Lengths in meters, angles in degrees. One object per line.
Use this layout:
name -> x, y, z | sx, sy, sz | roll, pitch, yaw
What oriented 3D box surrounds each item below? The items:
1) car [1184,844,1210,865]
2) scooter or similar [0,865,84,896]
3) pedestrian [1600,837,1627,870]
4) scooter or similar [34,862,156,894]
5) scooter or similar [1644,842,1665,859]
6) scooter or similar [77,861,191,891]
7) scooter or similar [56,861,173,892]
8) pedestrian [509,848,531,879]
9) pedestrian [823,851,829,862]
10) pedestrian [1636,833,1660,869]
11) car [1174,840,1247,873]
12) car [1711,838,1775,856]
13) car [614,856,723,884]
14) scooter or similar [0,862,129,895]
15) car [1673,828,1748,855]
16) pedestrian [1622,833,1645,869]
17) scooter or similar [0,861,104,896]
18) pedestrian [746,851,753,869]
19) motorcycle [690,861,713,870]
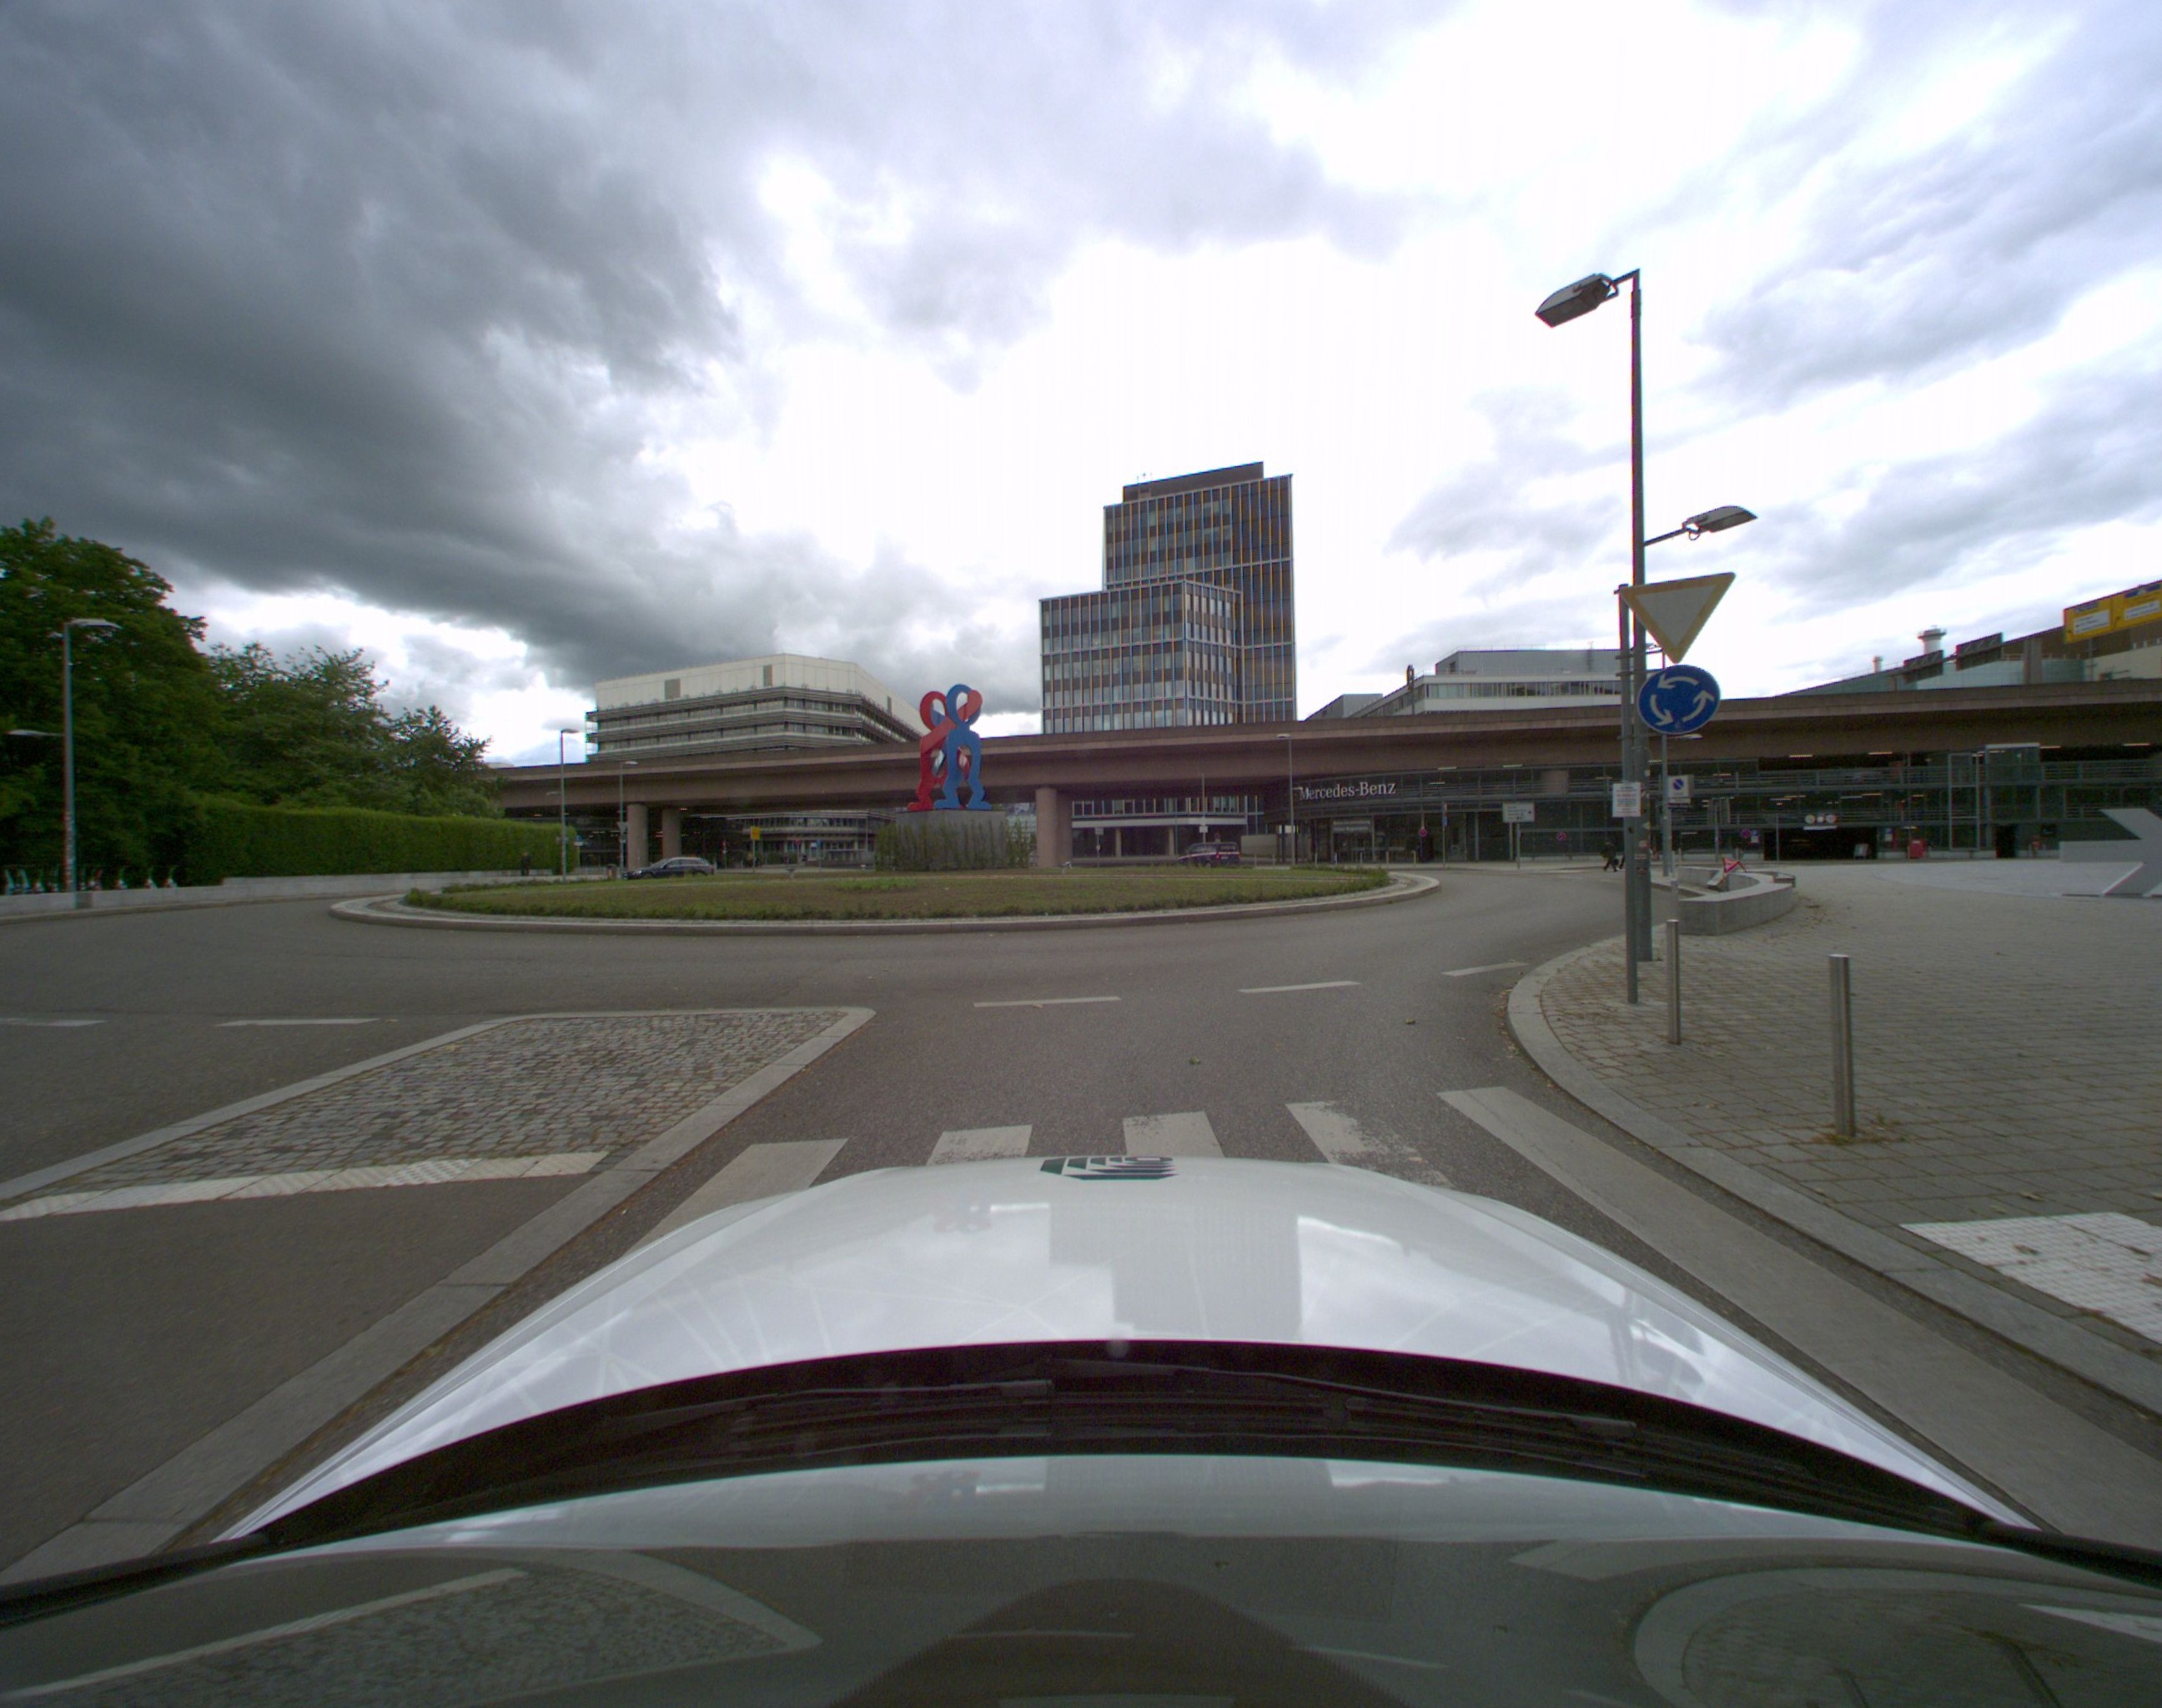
car -> 11.346, 0.080, 79.503 | 1.979, 2.014, 4.015 | 0, 0, 14
scooter or similar -> -38.791, 0.978, 29.660 | 3.191, 1.097, 0.768 | 0, -1, -19
pedestrian -> 25.508, -0.041, 39.021 | 0.826, 1.570, 0.692 | 0, -1, 8
scooter or similar -> -39.893, 0.942, 32.996 | 3.191, 1.249, 0.768 | 0, -1, -19
scooter or similar -> 41.628, -0.251, 59.132 | 1.222, 1.194, 0.357 | 0, -1, 12
scooter or similar -> -40.478, 0.919, 34.864 | 3.191, 1.249, 0.768 | 0, -1, -19
scooter or similar -> -40.311, 0.914, 34.027 | 3.191, 1.249, 0.768 | 0, -1, -19
pedestrian -> -36.801, 0.596, 53.448 | 1.044, 2.014, 0.596 | 0, -1, -15
pedestrian -> -44.140, 0.408, 141.151 | 0.774, 2.013, 0.670 | -1, 0, -3
pedestrian -> 27.479, -0.134, 39.478 | 0.824, 1.740, 0.694 | -1, -1, 20
car -> 8.156, 0.169, 51.917 | 2.288, 2.014, 4.742 | 0, 0, -26
car -> 59.420, -0.642, 73.136 | 3.959, 1.574, 2.007 | -1, 0, 13
car -> -22.546, 0.831, 44.652 | 1.975, 1.460, 4.964 | -1, 0, 42
scooter or similar -> -39.410, 0.935, 31.624 | 3.191, 1.249, 0.768 | 0, -1, -19
car -> 46.991, -0.936, 60.881 | 3.959, 1.904, 2.007 | -1, 0, 13
pedestrian -> 26.600, -0.142, 39.224 | 0.823, 1.740, 0.694 | -1, -1, 24
scooter or similar -> -39.102, 0.915, 30.549 | 3.191, 1.249, 0.768 | 0, -1, -19
pedestrian -> -35.829, 0.637, 88.086 | 0.589, 2.014, 0.596 | 0, -1, -15
motorcycle -> -48.266, 1.416, 103.512 | 2.632, 1.112, 1.044 | 0, 0, 17
